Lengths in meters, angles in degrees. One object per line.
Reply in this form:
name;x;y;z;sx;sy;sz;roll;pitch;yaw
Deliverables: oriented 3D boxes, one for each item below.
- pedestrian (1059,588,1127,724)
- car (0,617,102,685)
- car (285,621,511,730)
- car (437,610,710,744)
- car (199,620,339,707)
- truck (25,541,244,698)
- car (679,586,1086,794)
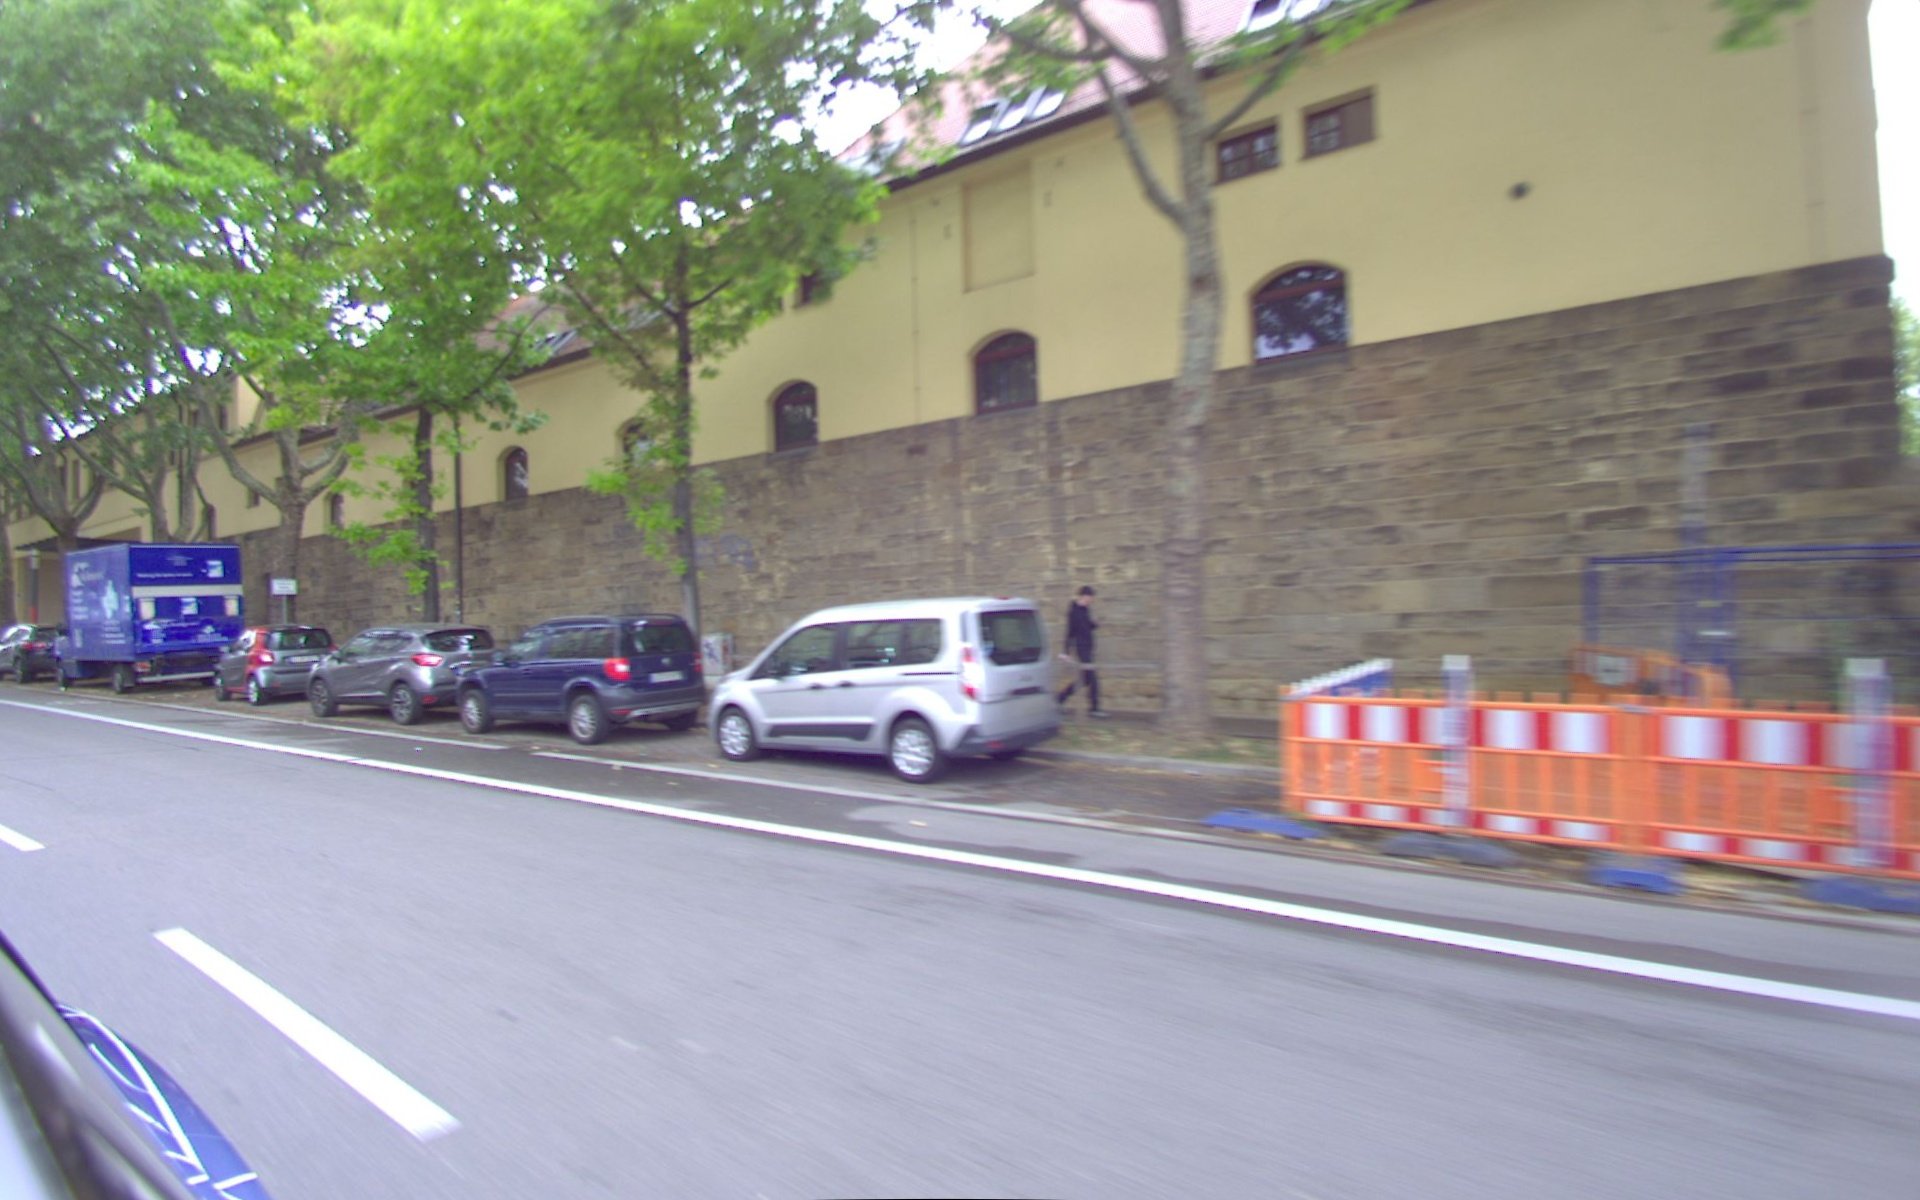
pedestrian;1.842;0.754;13.999;0.741;1.813;0.587;0;0;36
car;-26.137;1.381;28.663;4.242;1.701;1.717;0;1;34
car;-9.583;1.188;17.185;4.074;1.585;1.582;0;1;32
car;-5.588;0.987;14.455;4.103;1.643;1.496;0;1;33
car;-14.210;1.248;20.771;2.986;1.585;1.467;-1;1;37
truck;-20.542;0.452;25.045;7.229;3.442;2.197;-1;1;34
car;-0.973;0.872;11.267;4.407;1.891;1.818;-1;-2;36
